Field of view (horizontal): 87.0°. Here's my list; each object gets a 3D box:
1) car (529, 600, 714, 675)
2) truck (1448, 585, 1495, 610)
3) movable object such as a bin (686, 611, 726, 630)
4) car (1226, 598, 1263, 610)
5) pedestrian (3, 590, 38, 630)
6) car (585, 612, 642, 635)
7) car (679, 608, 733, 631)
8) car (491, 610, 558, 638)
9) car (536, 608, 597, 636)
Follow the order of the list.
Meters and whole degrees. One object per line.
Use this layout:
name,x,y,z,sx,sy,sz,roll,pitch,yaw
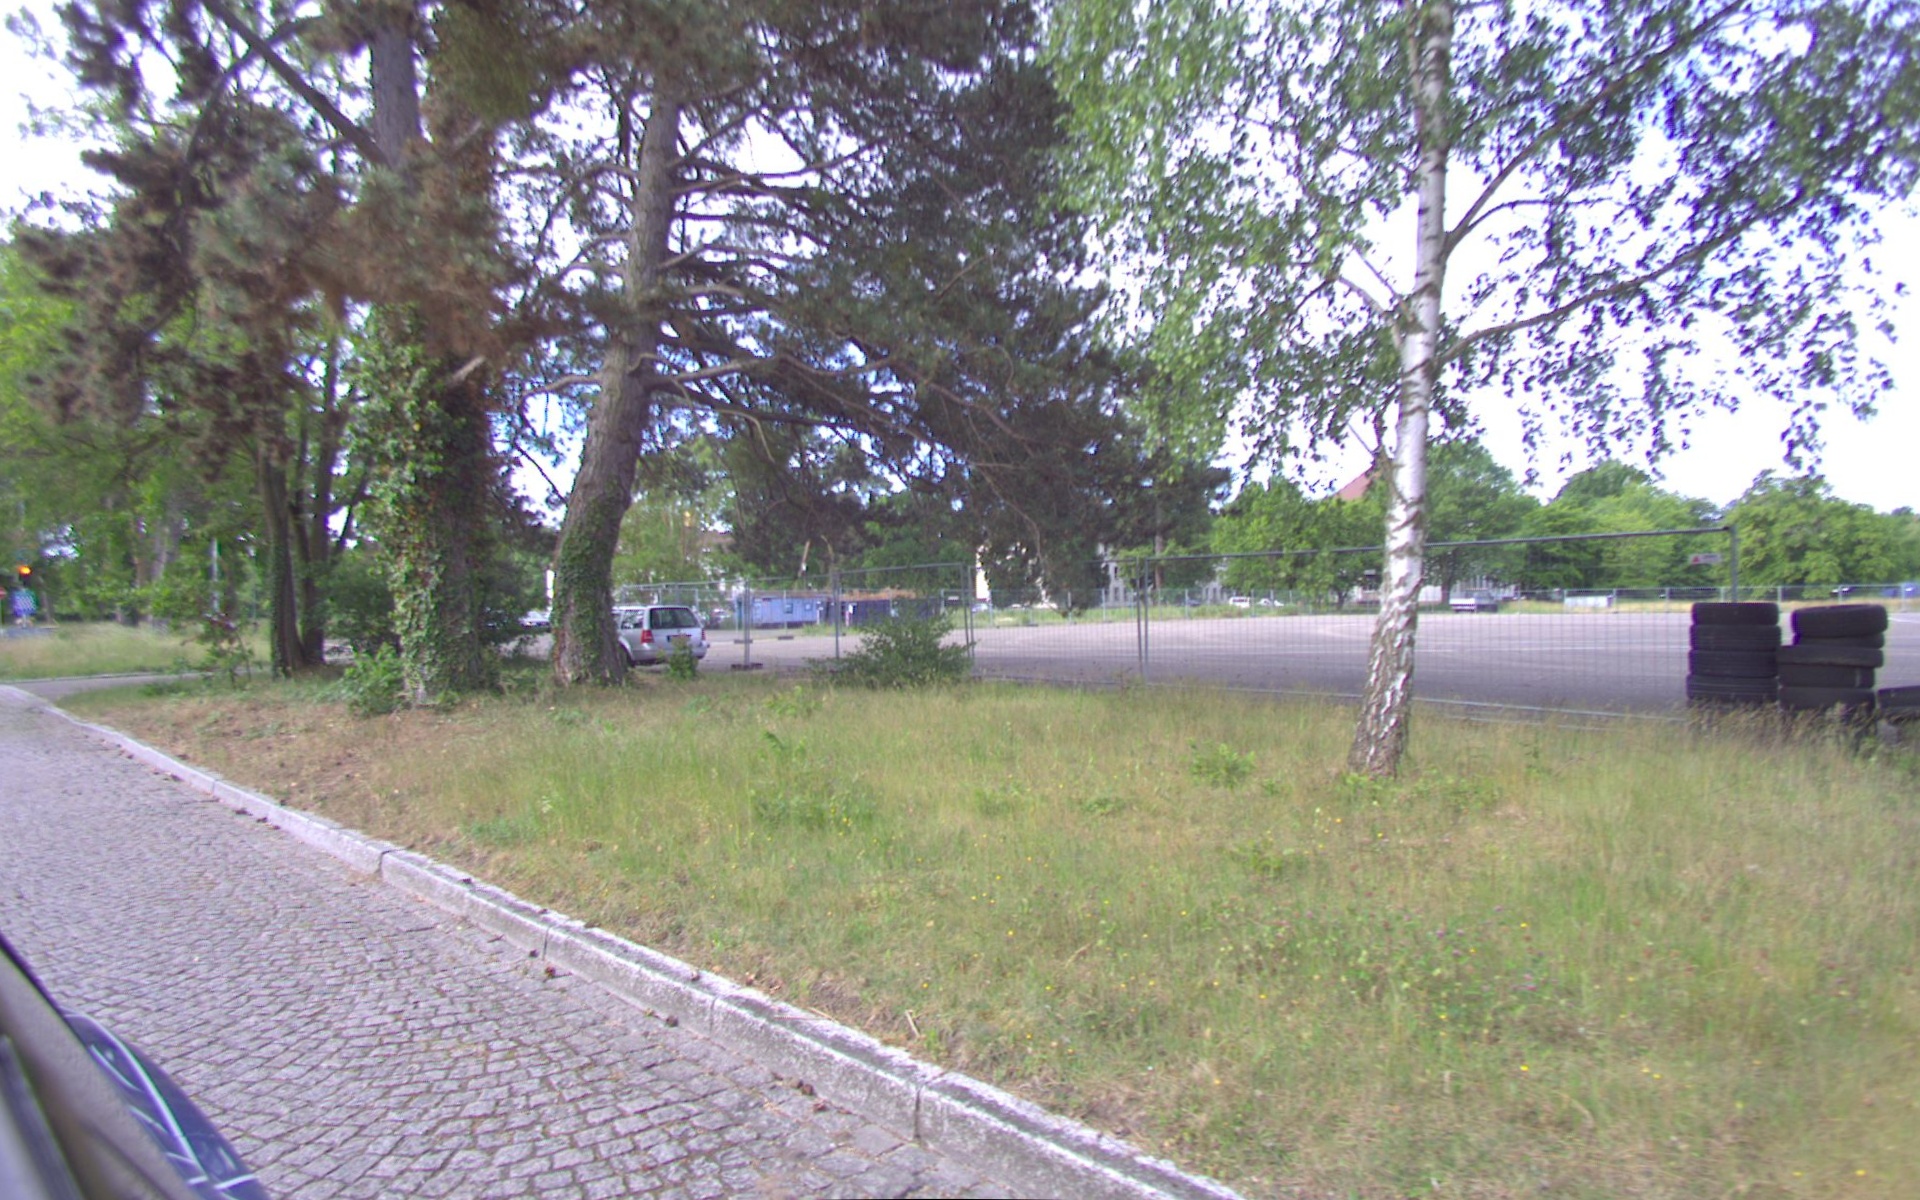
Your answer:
car,-7.415,0.778,21.930,4.463,1.449,1.698,-1,0,40
truck,47.305,-0.267,93.554,2.373,2.215,6.466,-1,0,41
movable object such as a bin,-13.336,1.083,53.119,1.931,0.940,1.029,-2,-1,35
car,40.294,0.552,143.356,4.580,1.645,1.817,-1,0,40
pedestrian,-36.633,0.387,39.467,0.869,1.529,0.824,-1,-1,-34
car,-25.635,1.736,74.842,4.580,1.533,1.817,-4,-2,40
car,-20.421,1.584,81.280,4.580,1.586,1.817,-4,-2,40
car,-25.365,1.406,58.853,4.583,1.480,1.815,-4,-2,42
car,-23.779,1.348,61.074,4.113,1.533,1.714,-4,-2,42
